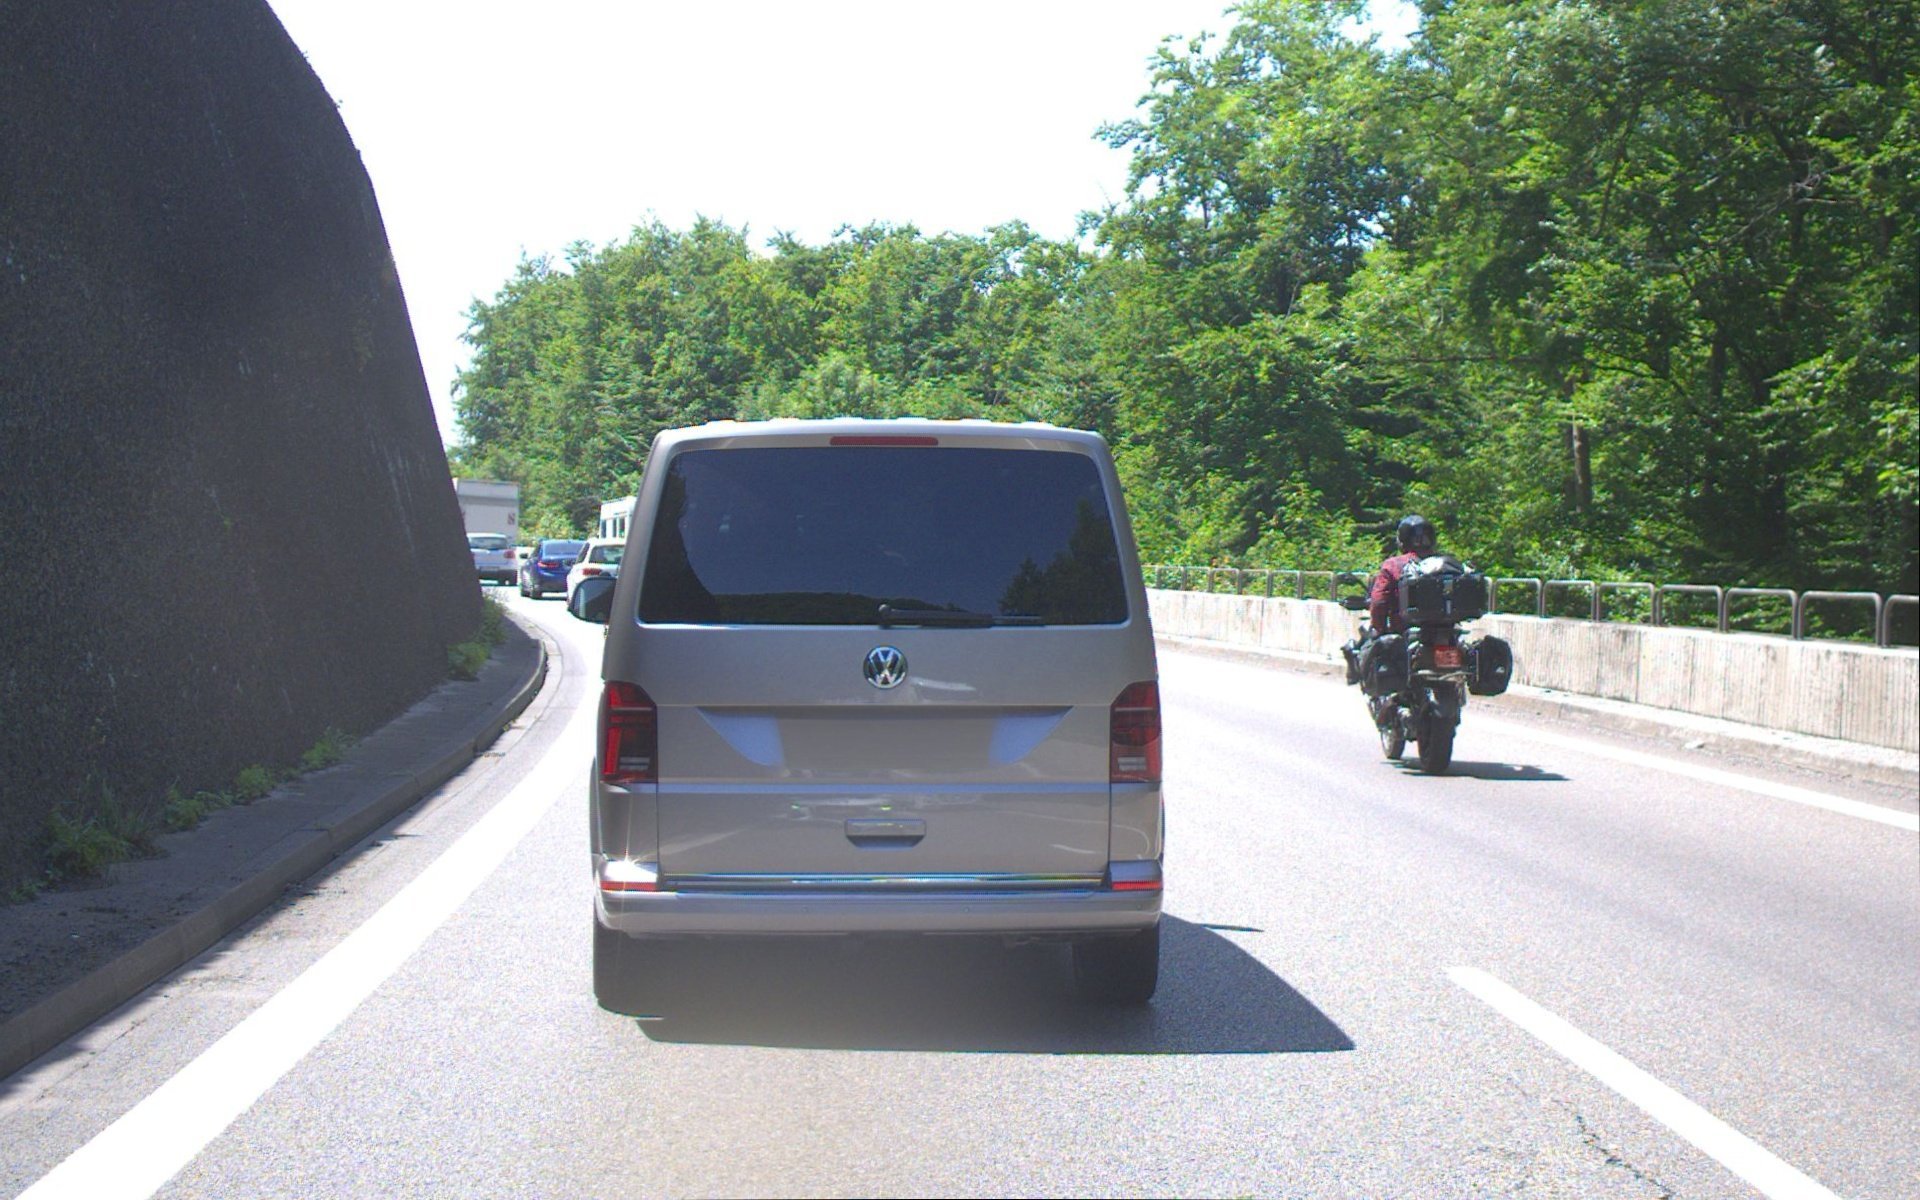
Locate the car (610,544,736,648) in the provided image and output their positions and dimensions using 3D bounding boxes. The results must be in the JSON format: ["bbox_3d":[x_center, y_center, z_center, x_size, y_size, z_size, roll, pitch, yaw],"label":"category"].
[{"bbox_3d":[-4.284,-0.088,51.349,1.771,1.467,4.001,1,1,-5],"label":"car"}]

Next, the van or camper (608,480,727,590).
[{"bbox_3d":[-8.487,-1.913,99.275,2.603,2.845,6.338,5,1,-10],"label":"van or camper"}]

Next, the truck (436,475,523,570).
[{"bbox_3d":[-19.445,-3.122,138.844,2.924,3.674,7.727,1,1,-11],"label":"truck"}]

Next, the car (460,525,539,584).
[{"bbox_3d":[-13.245,-1.312,98.729,1.993,1.612,4.001,1,1,-11],"label":"car"}]

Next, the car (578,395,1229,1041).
[{"bbox_3d":[-0.417,0.328,12.793,1.940,1.924,4.695,1,1,-6],"label":"car"}]

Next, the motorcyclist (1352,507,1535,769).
[{"bbox_3d":[3.420,0.252,24.458,1.060,1.794,1.338,1,1,-1],"label":"motorcyclist"}]

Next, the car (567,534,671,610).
[{"bbox_3d":[-7.001,-0.590,70.238,1.862,1.481,4.001,1,1,-9],"label":"car"}]

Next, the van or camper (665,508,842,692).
[{"bbox_3d":[-2.347,-0.032,38.597,1.853,1.935,4.166,1,1,-4],"label":"van or camper"}]

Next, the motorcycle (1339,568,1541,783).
[{"bbox_3d":[3.398,0.500,24.630,0.972,1.415,2.681,1,1,-1],"label":"motorcycle"}]

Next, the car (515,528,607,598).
[{"bbox_3d":[-9.706,-0.916,83.352,1.857,1.614,4.001,1,1,-11],"label":"car"}]
